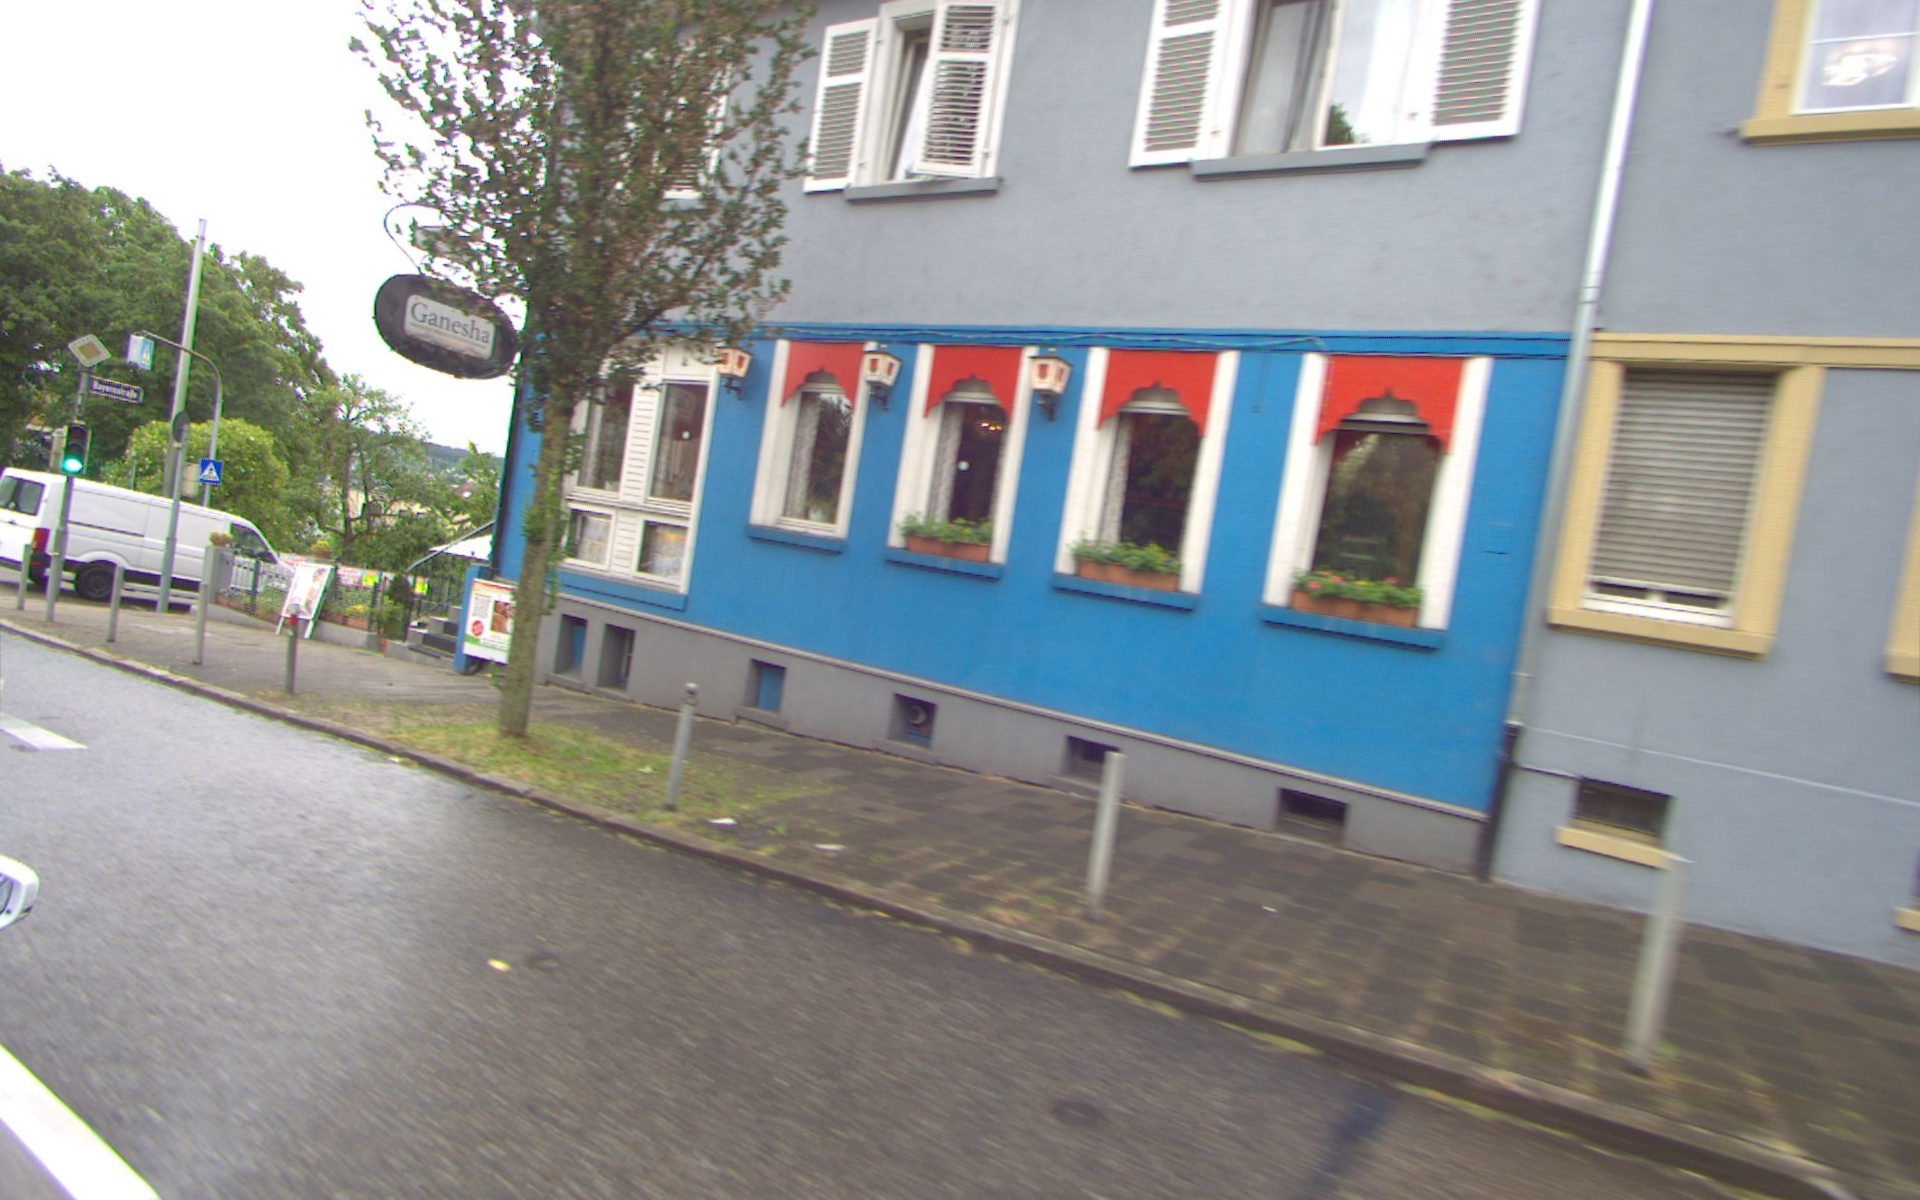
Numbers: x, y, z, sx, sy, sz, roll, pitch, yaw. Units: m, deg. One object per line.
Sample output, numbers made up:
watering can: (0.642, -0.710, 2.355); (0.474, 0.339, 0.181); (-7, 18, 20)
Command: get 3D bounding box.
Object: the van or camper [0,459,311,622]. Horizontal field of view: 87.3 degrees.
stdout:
van or camper: (-17.814, -1.164, 22.180); (2.072, 2.348, 5.431); (10, -5, 21)
